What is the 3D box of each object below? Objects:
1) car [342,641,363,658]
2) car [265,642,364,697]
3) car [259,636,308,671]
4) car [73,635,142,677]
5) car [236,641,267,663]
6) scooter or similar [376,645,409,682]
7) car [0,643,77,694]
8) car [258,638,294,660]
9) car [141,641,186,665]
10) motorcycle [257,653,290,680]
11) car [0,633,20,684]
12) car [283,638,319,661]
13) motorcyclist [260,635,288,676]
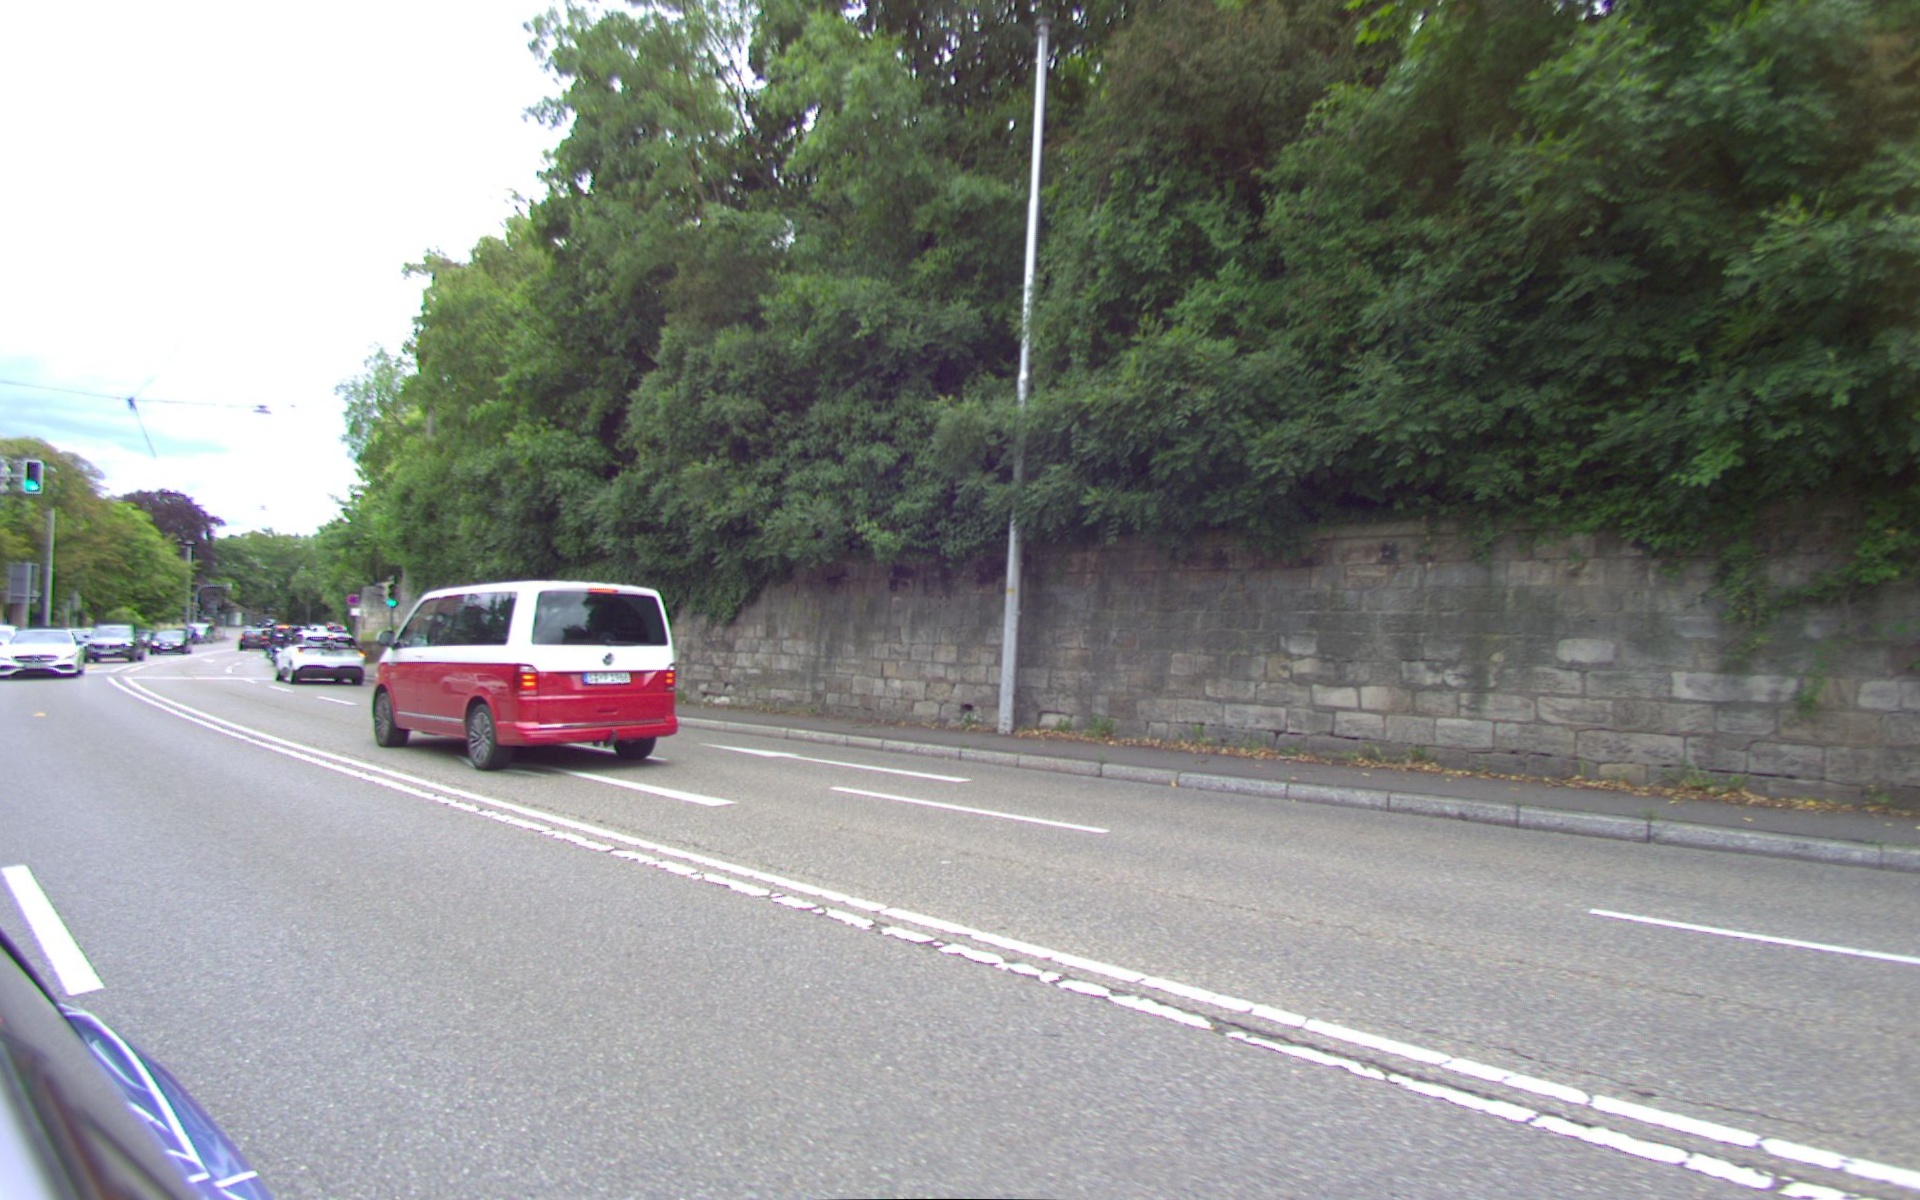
[{"bbox_3d":[-69.367,5.659,115.576,1.867,1.862,4.409,2,-3,-32],"label":"car"},{"bbox_3d":[-19.058,2.012,29.825,1.760,1.478,4.106,5,-5,-41],"label":"car"},{"bbox_3d":[-37.806,2.969,56.633,1.719,1.860,4.262,2,-3,-26],"label":"car"},{"bbox_3d":[-37.337,2.424,44.406,1.927,1.753,4.009,3,-4,-35],"label":"car"},{"bbox_3d":[-51.917,3.805,74.163,1.731,1.578,3.688,3,-4,-35],"label":"car"},{"bbox_3d":[-20.414,2.275,36.401,0.429,1.246,1.095,-3,0,8],"label":"scooter or similar"},{"bbox_3d":[-26.868,1.961,29.367,1.776,1.401,3.532,3,-4,-40],"label":"car"},{"bbox_3d":[-55.014,3.936,81.459,1.932,1.763,4.893,2,-3,-29],"label":"car"},{"bbox_3d":[-48.035,3.179,61.097,1.806,1.387,4.010,3,-3,-35],"label":"car"},{"bbox_3d":[-28.987,2.810,42.726,2.309,1.082,0.642,-2,-5,45],"label":"motorcycle"},{"bbox_3d":[-35.861,2.107,36.884,1.928,1.785,4.008,3,-4,-38],"label":"car"},{"bbox_3d":[-49.393,3.717,75.891,1.966,1.620,4.489,4,-5,-30],"label":"car"},{"bbox_3d":[-28.936,2.339,42.683,1.339,1.718,0.641,-2,-5,45],"label":"motorcyclist"}]
